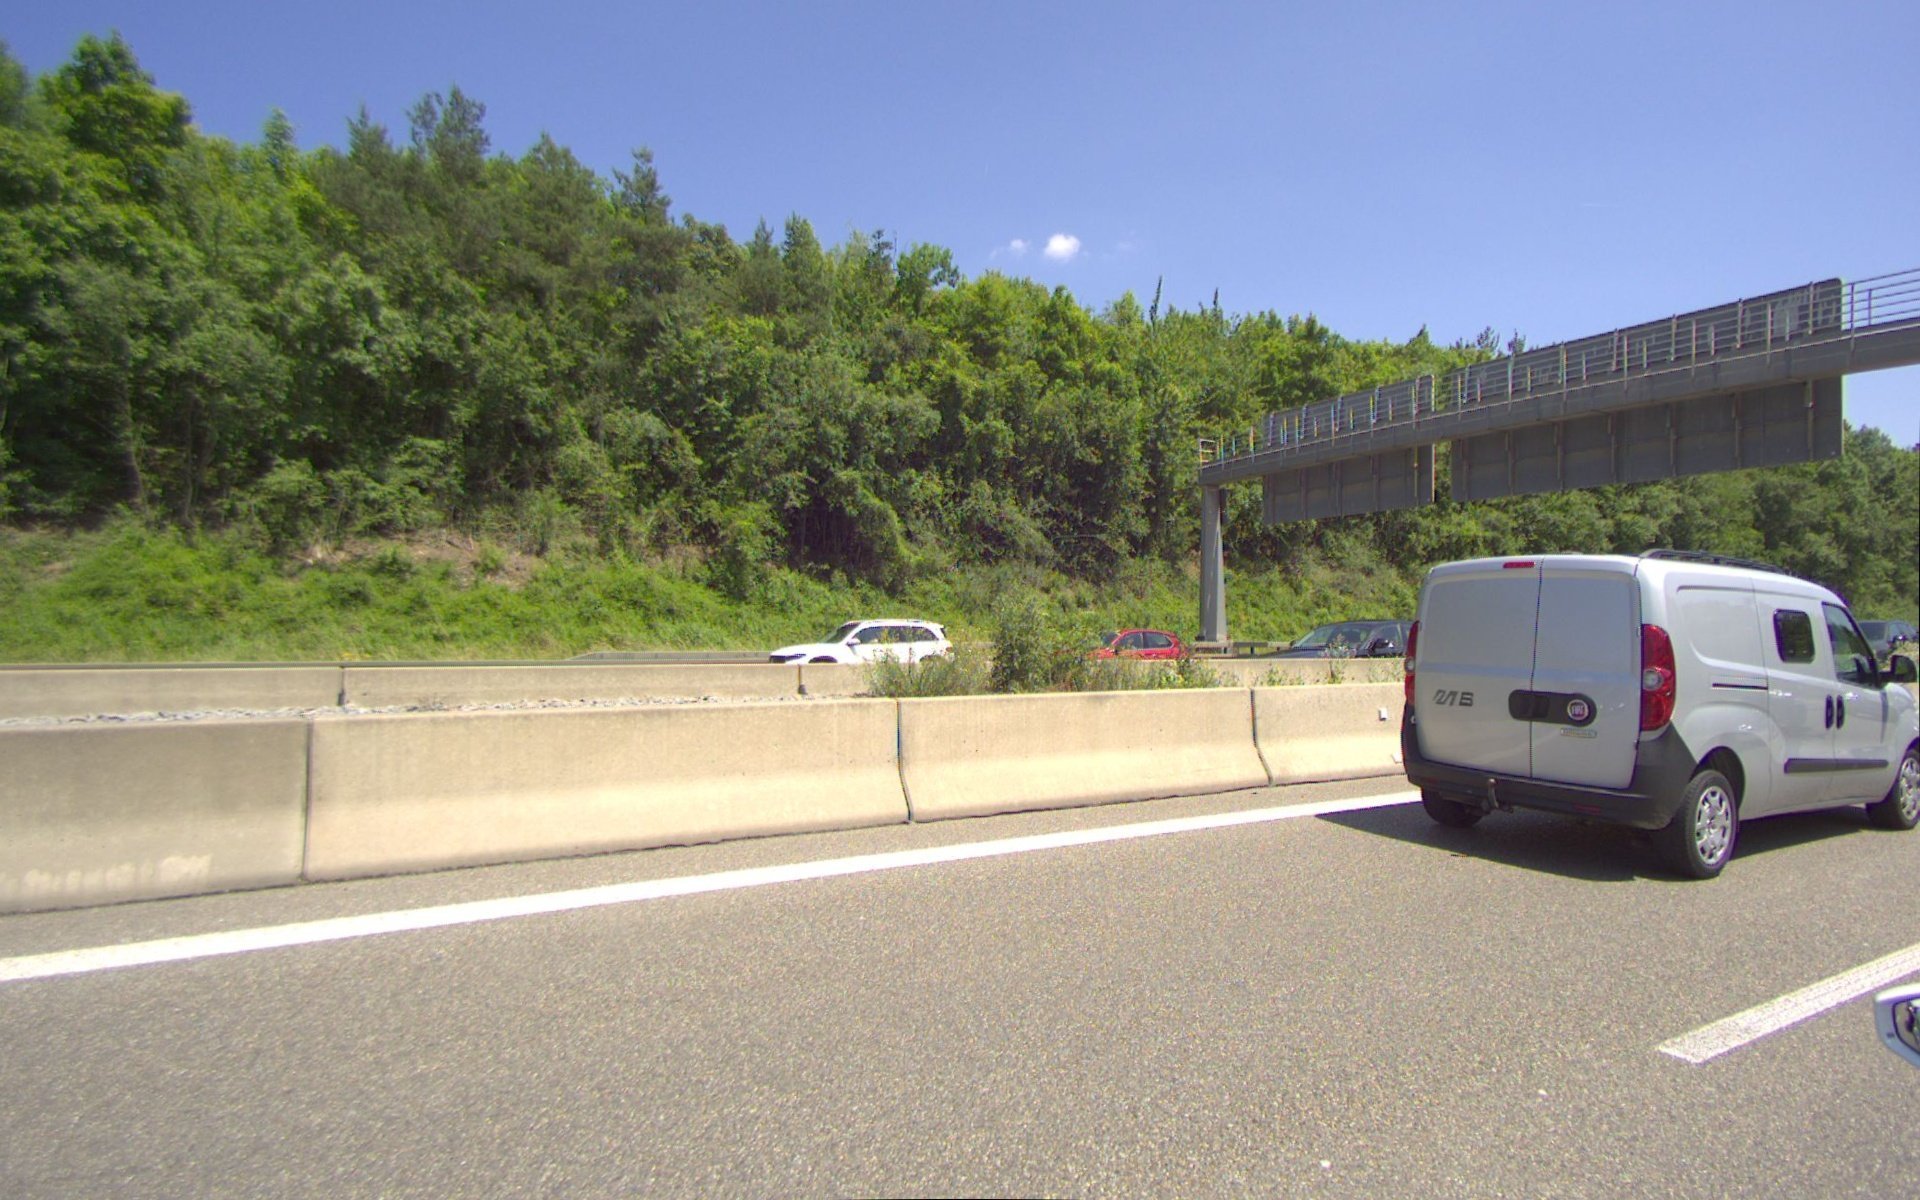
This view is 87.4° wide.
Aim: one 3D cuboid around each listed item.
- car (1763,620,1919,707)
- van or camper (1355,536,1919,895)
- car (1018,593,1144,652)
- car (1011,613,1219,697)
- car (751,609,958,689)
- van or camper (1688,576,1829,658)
[{"bbox_3d":[23.319,1.641,26.278,5.097,2.040,1.983,3,-1,-32],"label":"car"},{"bbox_3d":[5.136,0.648,7.274,4.508,1.905,1.844,1,0,-30],"label":"van or camper"},{"bbox_3d":[4.603,0.854,38.114,4.312,2.040,2.114,3,-1,-30],"label":"car"},{"bbox_3d":[3.579,1.257,23.002,4.463,1.714,1.983,3,-1,-31],"label":"car"},{"bbox_3d":[-2.471,1.162,23.843,4.463,1.714,1.983,3,-1,-31],"label":"car"},{"bbox_3d":[31.451,0.712,39.487,6.577,2.896,2.143,3,-1,-31],"label":"van or camper"}]
